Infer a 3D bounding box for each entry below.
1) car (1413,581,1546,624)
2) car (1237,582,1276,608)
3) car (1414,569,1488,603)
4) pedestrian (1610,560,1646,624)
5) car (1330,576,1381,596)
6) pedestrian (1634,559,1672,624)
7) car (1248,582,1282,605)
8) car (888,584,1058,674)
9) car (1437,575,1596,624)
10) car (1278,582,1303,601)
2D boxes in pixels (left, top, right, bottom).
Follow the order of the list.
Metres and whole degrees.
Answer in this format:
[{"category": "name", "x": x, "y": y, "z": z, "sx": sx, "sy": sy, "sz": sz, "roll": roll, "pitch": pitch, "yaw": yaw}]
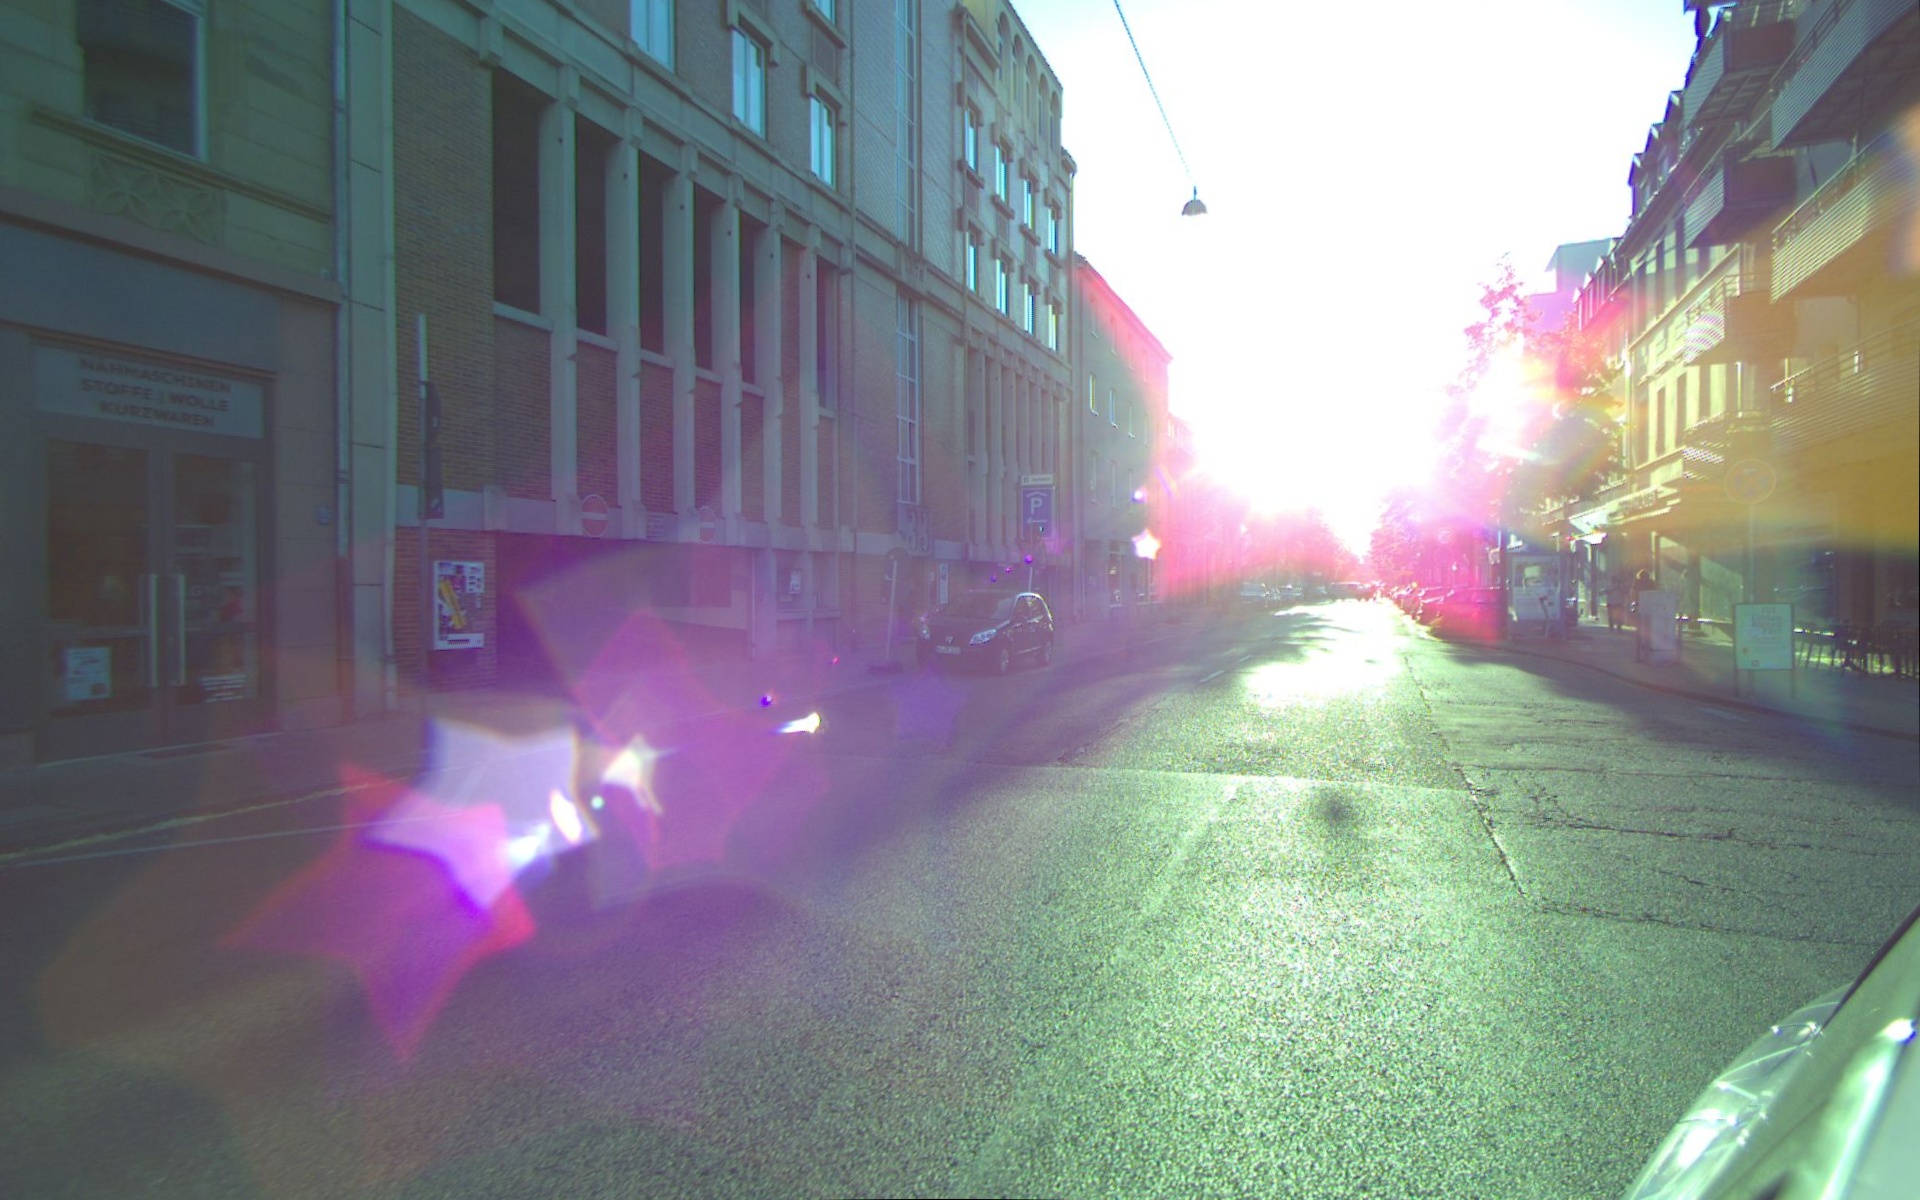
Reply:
[{"category": "car", "x": 18.418, "y": 0.076, "z": 36.111, "sx": 3.949, "sy": 1.438, "sz": 1.988, "roll": 0, "pitch": 1, "yaw": 20}, {"category": "car", "x": 18.413, "y": -0.320, "z": 62.788, "sx": 1.976, "sy": 1.571, "sz": 3.972, "roll": 0, "pitch": 1, "yaw": 21}, {"category": "car", "x": 30.606, "y": -0.842, "z": 63.181, "sx": 3.950, "sy": 2.039, "sz": 1.987, "roll": -1, "pitch": 0, "yaw": 20}, {"category": "pedestrian", "x": 20.778, "y": -0.248, "z": 31.481, "sx": 0.720, "sy": 1.972, "sz": 0.736, "roll": -1, "pitch": 0, "yaw": 17}, {"category": "car", "x": 42.175, "y": -1.521, "z": 108.032, "sx": 1.960, "sy": 2.039, "sz": 4.854, "roll": -1, "pitch": 1, "yaw": -30}, {"category": "pedestrian", "x": 21.473, "y": -0.260, "z": 31.367, "sx": 0.720, "sy": 1.972, "sz": 0.800, "roll": -1, "pitch": 0, "yaw": 17}, {"category": "car", "x": 21.083, "y": -0.464, "z": 69.898, "sx": 1.976, "sy": 1.571, "sz": 3.972, "roll": 0, "pitch": 1, "yaw": 21}, {"category": "car", "x": 0.372, "y": 0.483, "z": 19.654, "sx": 1.978, "sy": 1.539, "sz": 3.969, "roll": 1, "pitch": 1, "yaw": 23}, {"category": "car", "x": 18.294, "y": -0.028, "z": 33.507, "sx": 4.392, "sy": 1.561, "sz": 1.804, "roll": 0, "pitch": 1, "yaw": 22}, {"category": "car", "x": 27.862, "y": -0.743, "z": 85.303, "sx": 1.736, "sy": 1.571, "sz": 4.257, "roll": 0, "pitch": 1, "yaw": 21}]
